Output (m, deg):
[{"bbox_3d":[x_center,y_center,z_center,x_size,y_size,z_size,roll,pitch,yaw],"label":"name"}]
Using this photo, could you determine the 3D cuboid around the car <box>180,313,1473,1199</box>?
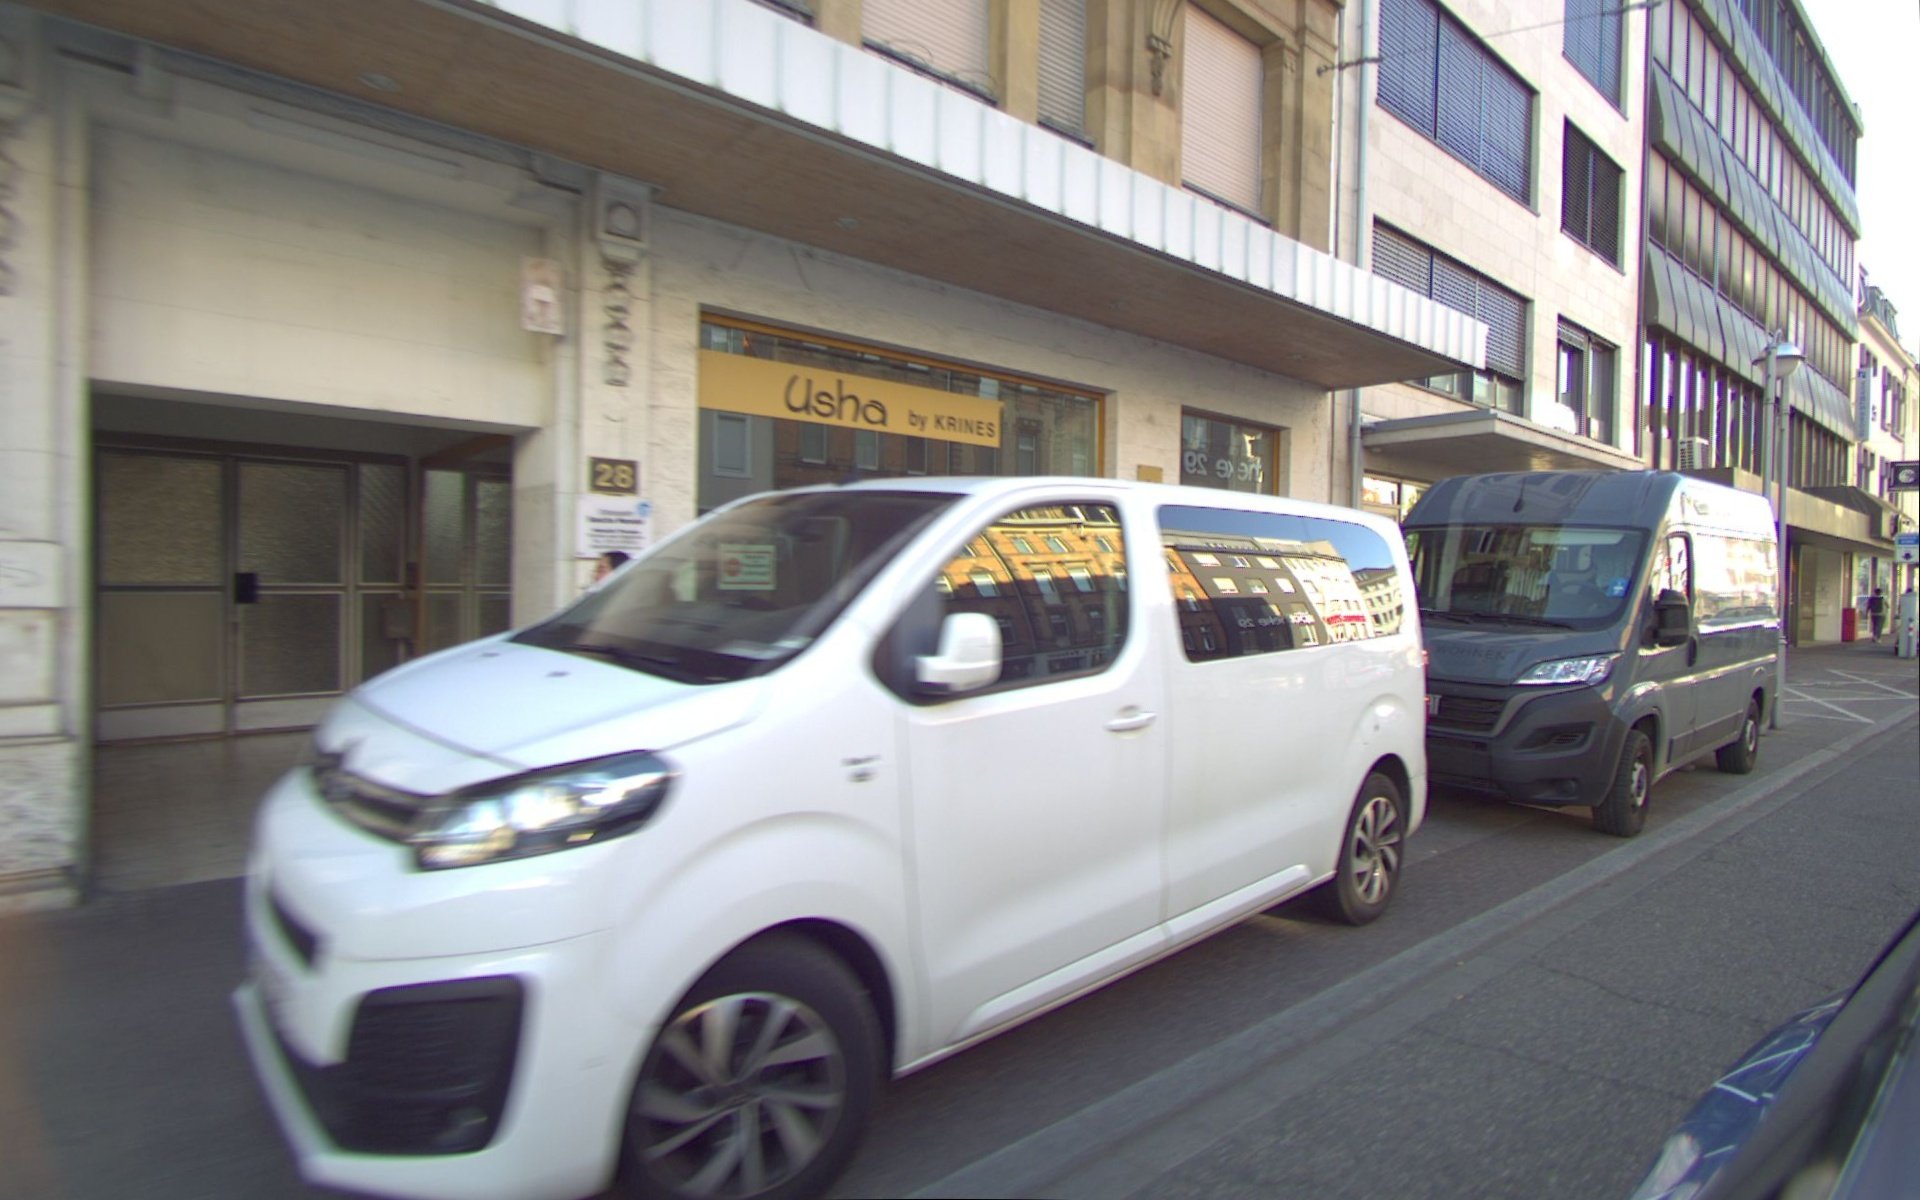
[{"bbox_3d":[0.030,0.446,4.014,4.798,1.934,2.048,-1,3,-44],"label":"car"}]

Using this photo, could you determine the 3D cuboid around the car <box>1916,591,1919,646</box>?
[{"bbox_3d":[26.515,0.444,26.589,3.447,1.570,1.630,-1,4,-41],"label":"car"}]

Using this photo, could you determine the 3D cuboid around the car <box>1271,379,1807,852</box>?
[{"bbox_3d":[4.904,0.137,8.063,5.587,2.533,2.049,2,-1,-42],"label":"car"}]

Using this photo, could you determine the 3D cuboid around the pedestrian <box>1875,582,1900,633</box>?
[{"bbox_3d":[31.483,0.253,34.354,0.731,1.696,0.513,0,0,-41],"label":"pedestrian"}]

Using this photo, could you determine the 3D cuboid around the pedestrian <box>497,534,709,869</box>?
[{"bbox_3d":[-1.808,0.448,5.124,0.800,1.527,0.696,0,1,-41],"label":"pedestrian"}]
